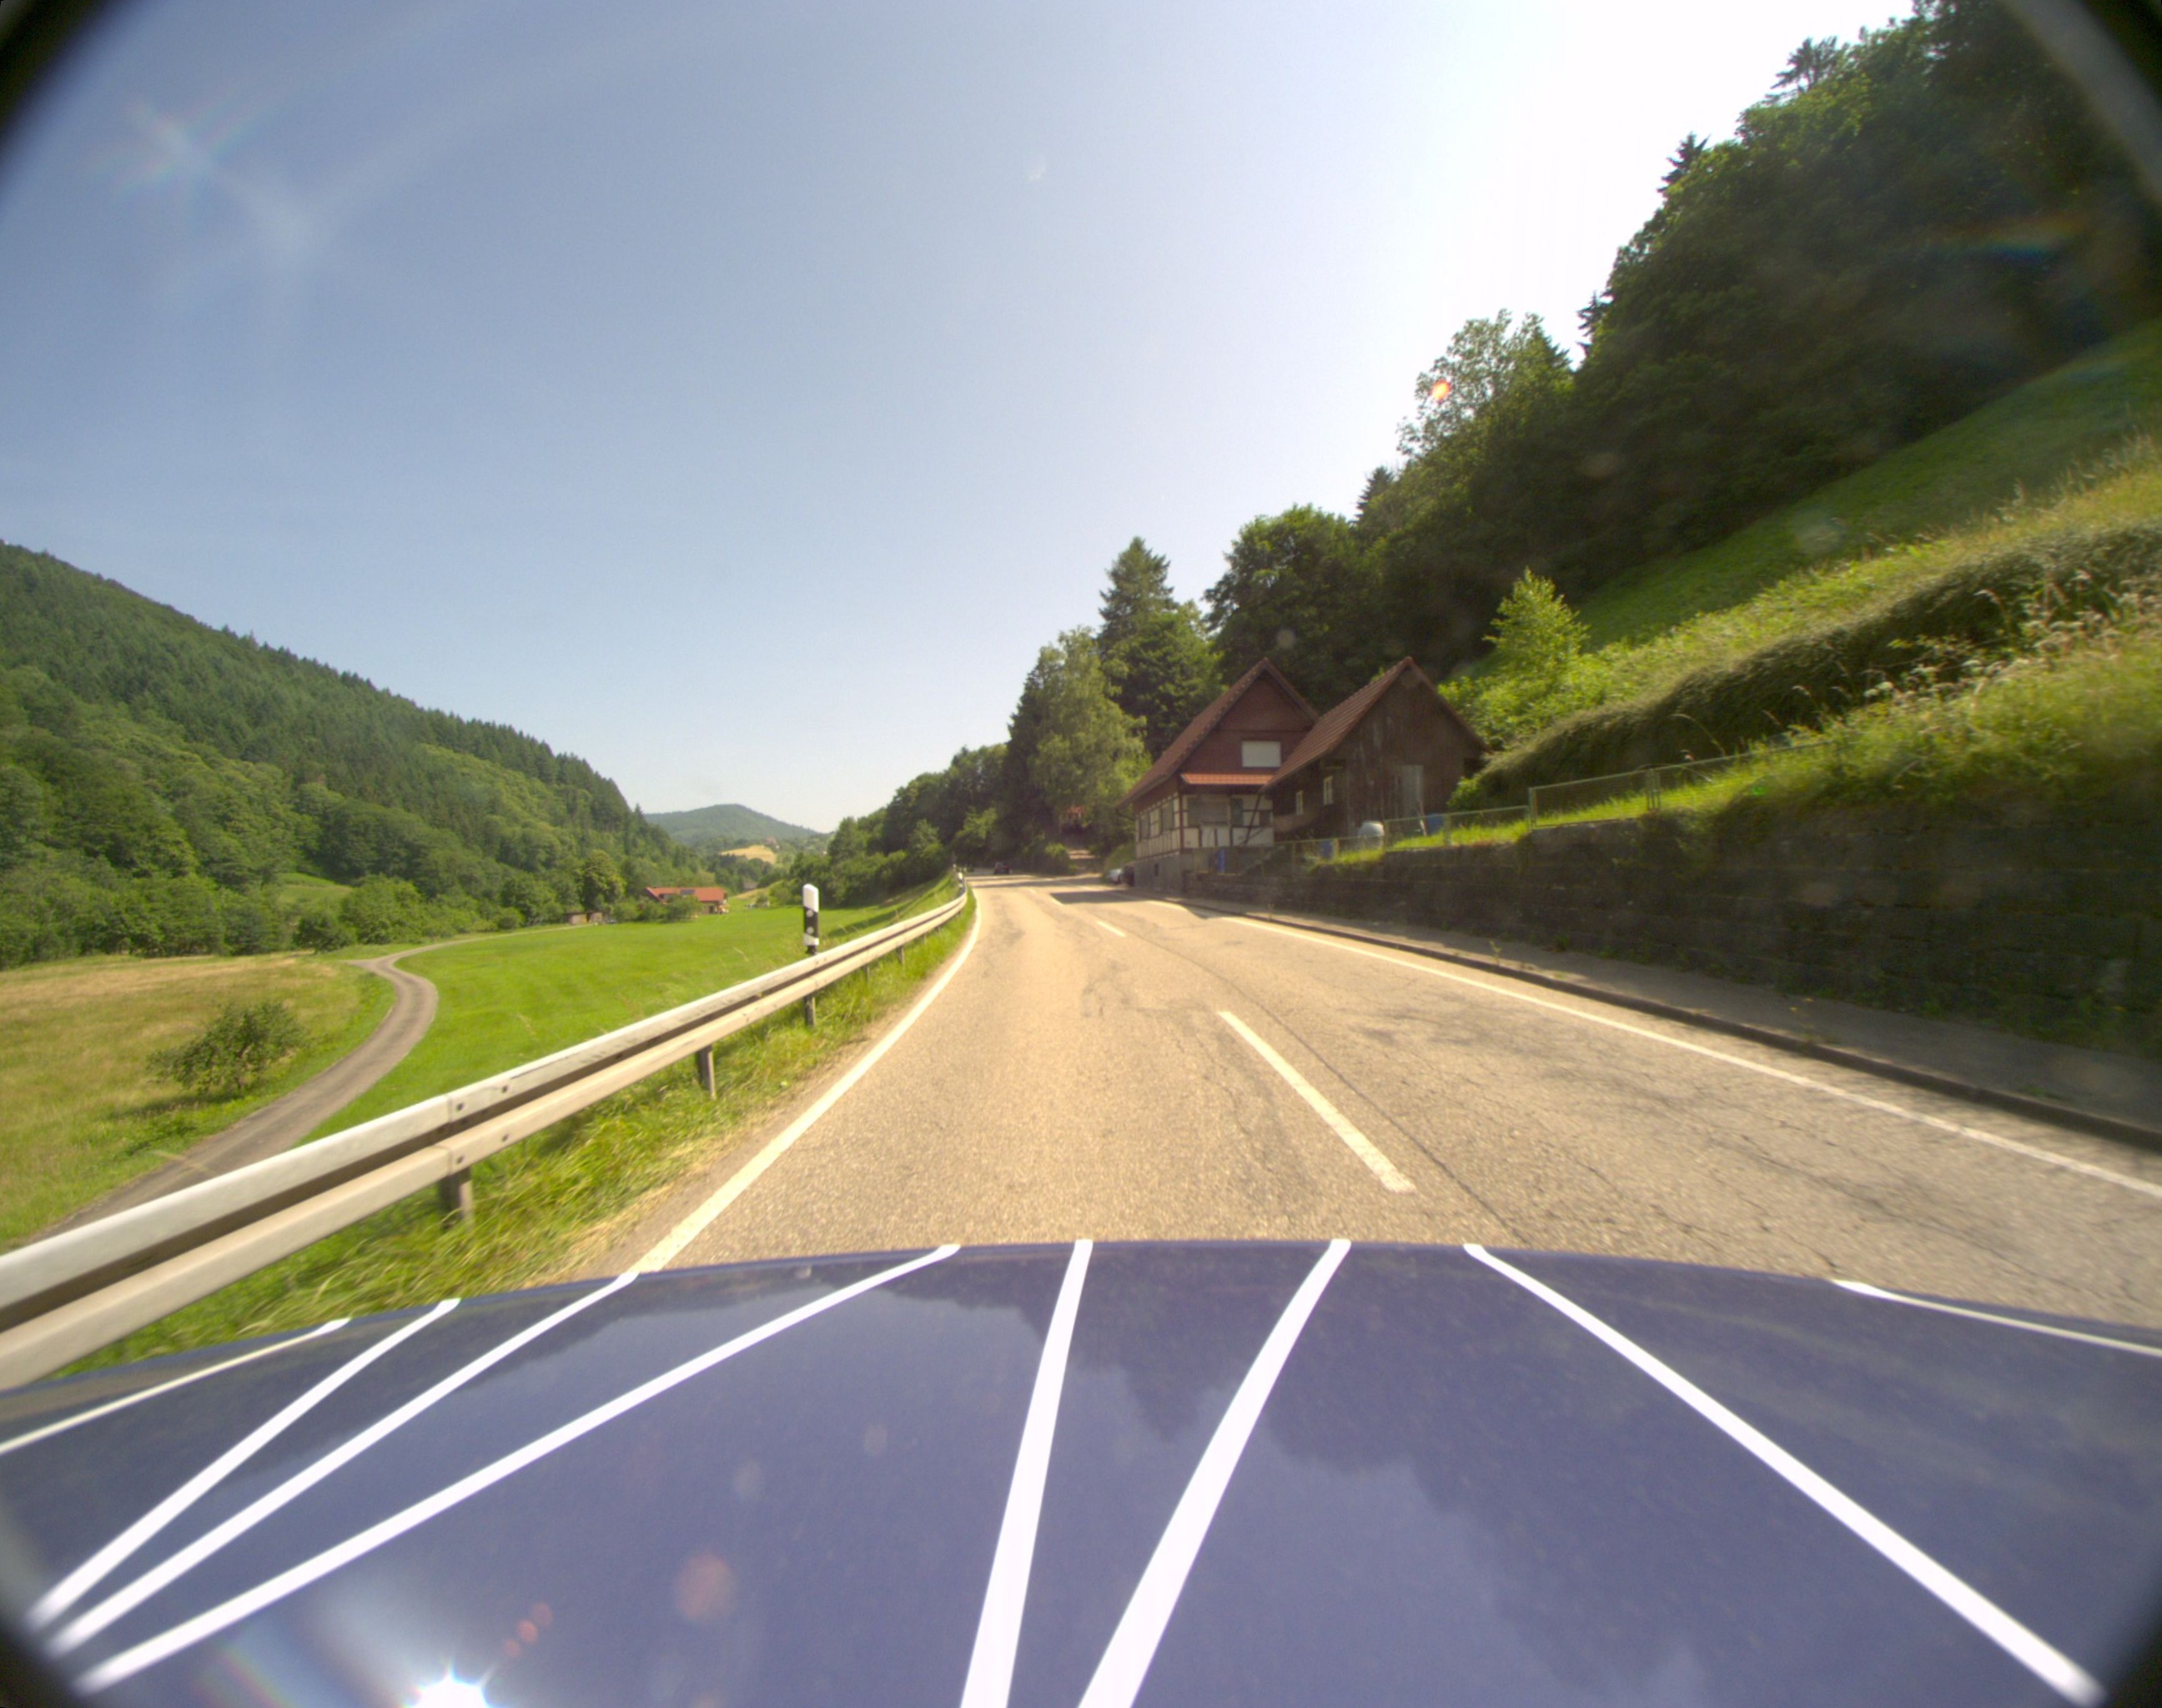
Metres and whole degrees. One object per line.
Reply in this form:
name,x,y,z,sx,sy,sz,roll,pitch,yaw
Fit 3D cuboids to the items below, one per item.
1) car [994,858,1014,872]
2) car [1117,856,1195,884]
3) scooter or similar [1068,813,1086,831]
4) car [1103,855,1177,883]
car,-9.119,1.274,89.819,1.771,1.388,4.139,-3,1,-13
car,4.081,0.848,41.652,3.829,1.424,1.861,-1,1,-11
scooter or similar,-0.544,-4.232,101.664,1.983,2.015,4.403,-6,1,-4
car,3.408,0.841,44.201,3.829,1.409,1.855,-2,1,-12
